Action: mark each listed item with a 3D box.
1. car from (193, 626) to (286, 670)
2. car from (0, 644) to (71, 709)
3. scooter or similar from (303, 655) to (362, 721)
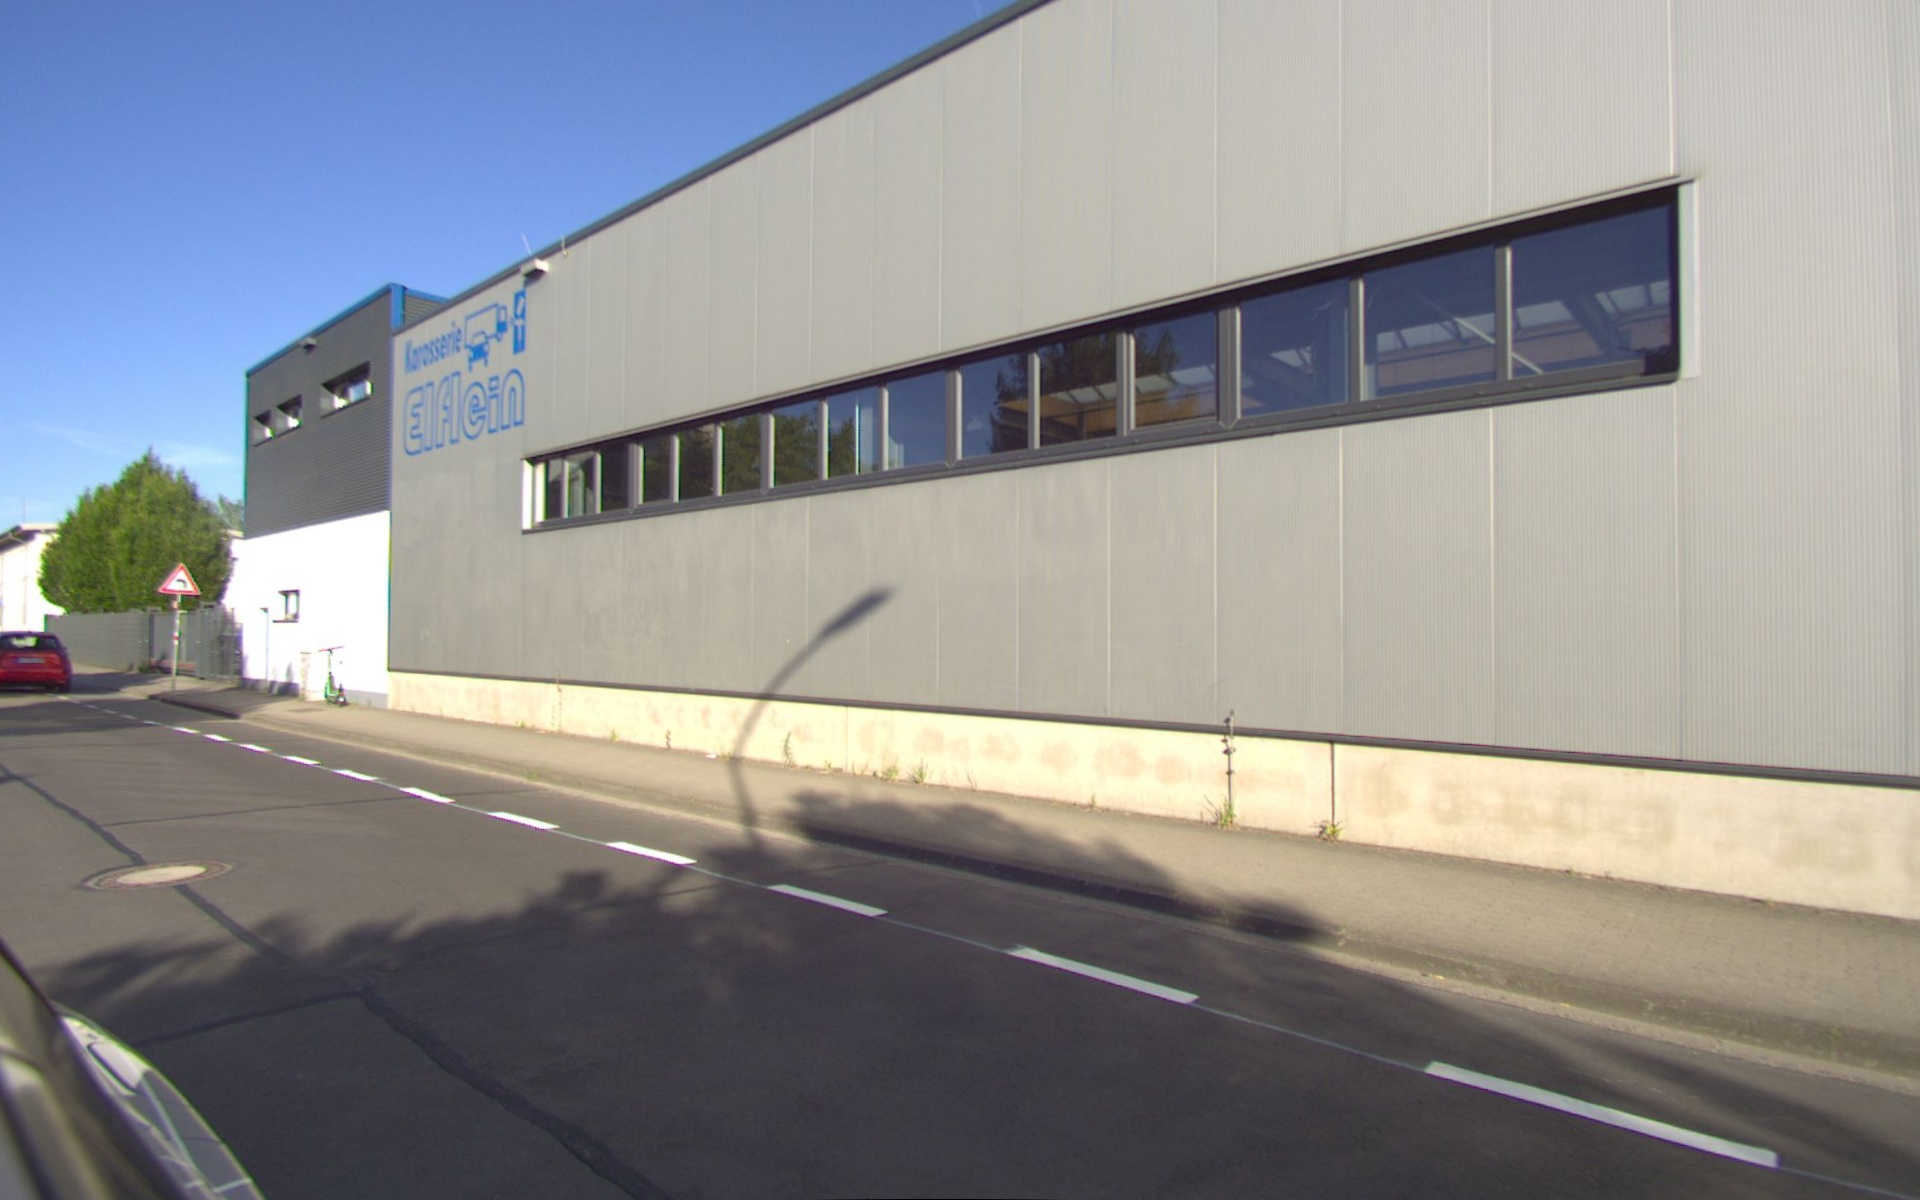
[{"bbox_3d":[-27.198,1.781,38.166,3.996,1.552,1.850,-1,-3,40],"label":"car"},{"bbox_3d":[-24.304,1.938,25.960,4.074,1.552,1.702,-3,-5,42],"label":"car"},{"bbox_3d":[-12.791,1.767,20.611,1.753,1.212,0.501,-1,1,42],"label":"scooter or similar"}]
